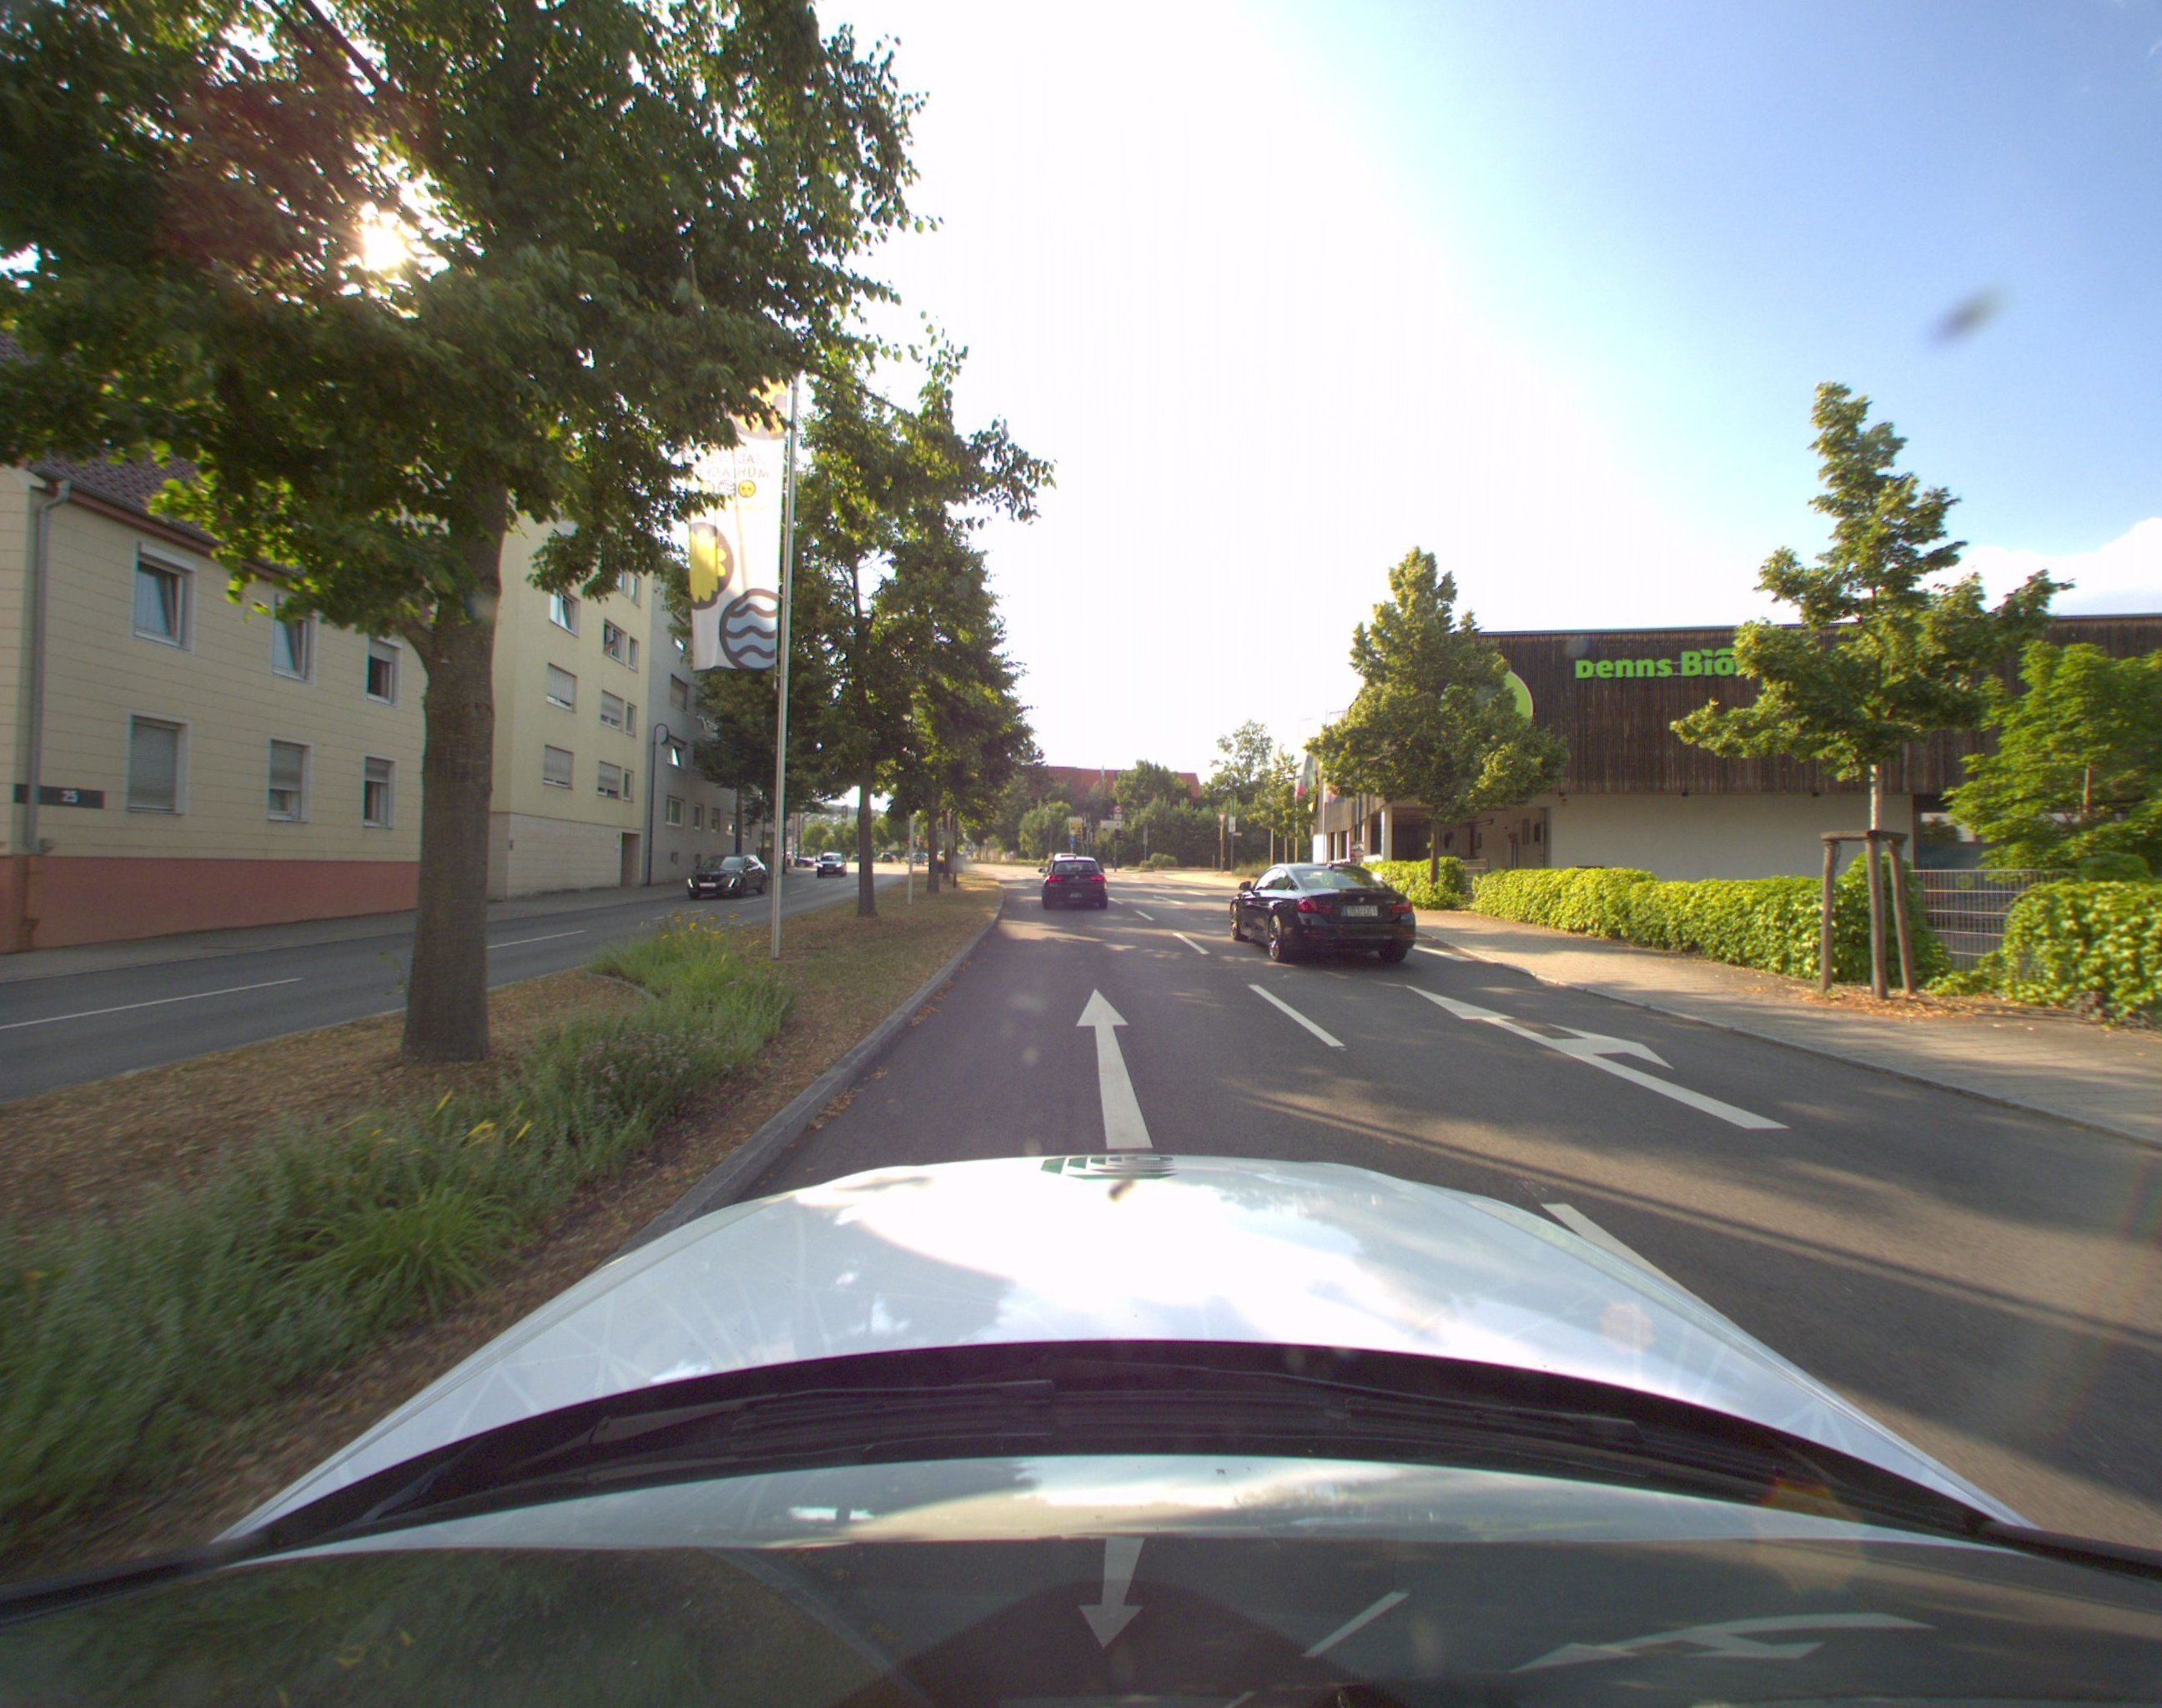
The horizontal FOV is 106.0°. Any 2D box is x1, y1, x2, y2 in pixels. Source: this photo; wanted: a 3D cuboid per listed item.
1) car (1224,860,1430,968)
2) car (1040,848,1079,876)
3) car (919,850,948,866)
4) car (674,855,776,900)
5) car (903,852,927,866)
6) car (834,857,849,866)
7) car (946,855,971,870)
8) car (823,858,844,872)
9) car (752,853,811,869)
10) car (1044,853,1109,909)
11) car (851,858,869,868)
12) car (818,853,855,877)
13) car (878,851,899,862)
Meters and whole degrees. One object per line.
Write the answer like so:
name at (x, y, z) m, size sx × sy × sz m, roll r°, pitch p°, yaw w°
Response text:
car at (3.536, 0.790, 12.604) m, size 1.914 × 1.364 × 4.353 m, roll 0°, pitch 0°, yaw 0°
car at (-1.448, 0.493, 52.407) m, size 1.925 × 1.769 × 4.439 m, roll 0°, pitch 0°, yaw -10°
car at (-17.168, 0.446, 94.867) m, size 2.228 × 1.769 × 4.416 m, roll 0°, pitch 0°, yaw -26°
car at (-12.712, 0.786, 29.407) m, size 1.935 × 1.486 × 4.319 m, roll -1°, pitch 0°, yaw -3°
car at (-22.362, 0.645, 109.520) m, size 2.228 × 1.769 × 4.416 m, roll 0°, pitch 0°, yaw -26°
car at (-47.516, 1.514, 161.469) m, size 2.228 × 1.769 × 4.416 m, roll 0°, pitch 0°, yaw -26°
car at (-15.521, 1.084, 102.845) m, size 2.266 × 1.674 × 4.556 m, roll 2°, pitch 0°, yaw -20°
car at (-28.345, 1.262, 93.039) m, size 1.860 × 1.486 × 4.959 m, roll 0°, pitch 0°, yaw -22°
car at (-27.711, 0.617, 75.520) m, size 4.866 × 1.436 × 1.908 m, roll 0°, pitch 0°, yaw -15°
car at (-0.213, 0.730, 23.759) m, size 1.717 × 1.490 × 4.348 m, roll 0°, pitch 0°, yaw -3°
car at (-39.168, 1.570, 144.285) m, size 2.228 × 1.859 × 4.416 m, roll 0°, pitch 0°, yaw -26°
car at (-15.763, 0.669, 52.632) m, size 1.603 × 1.486 × 3.776 m, roll -1°, pitch 0°, yaw -6°
car at (-29.965, 0.369, 126.685) m, size 2.228 × 1.769 × 4.416 m, roll 0°, pitch 0°, yaw -26°
